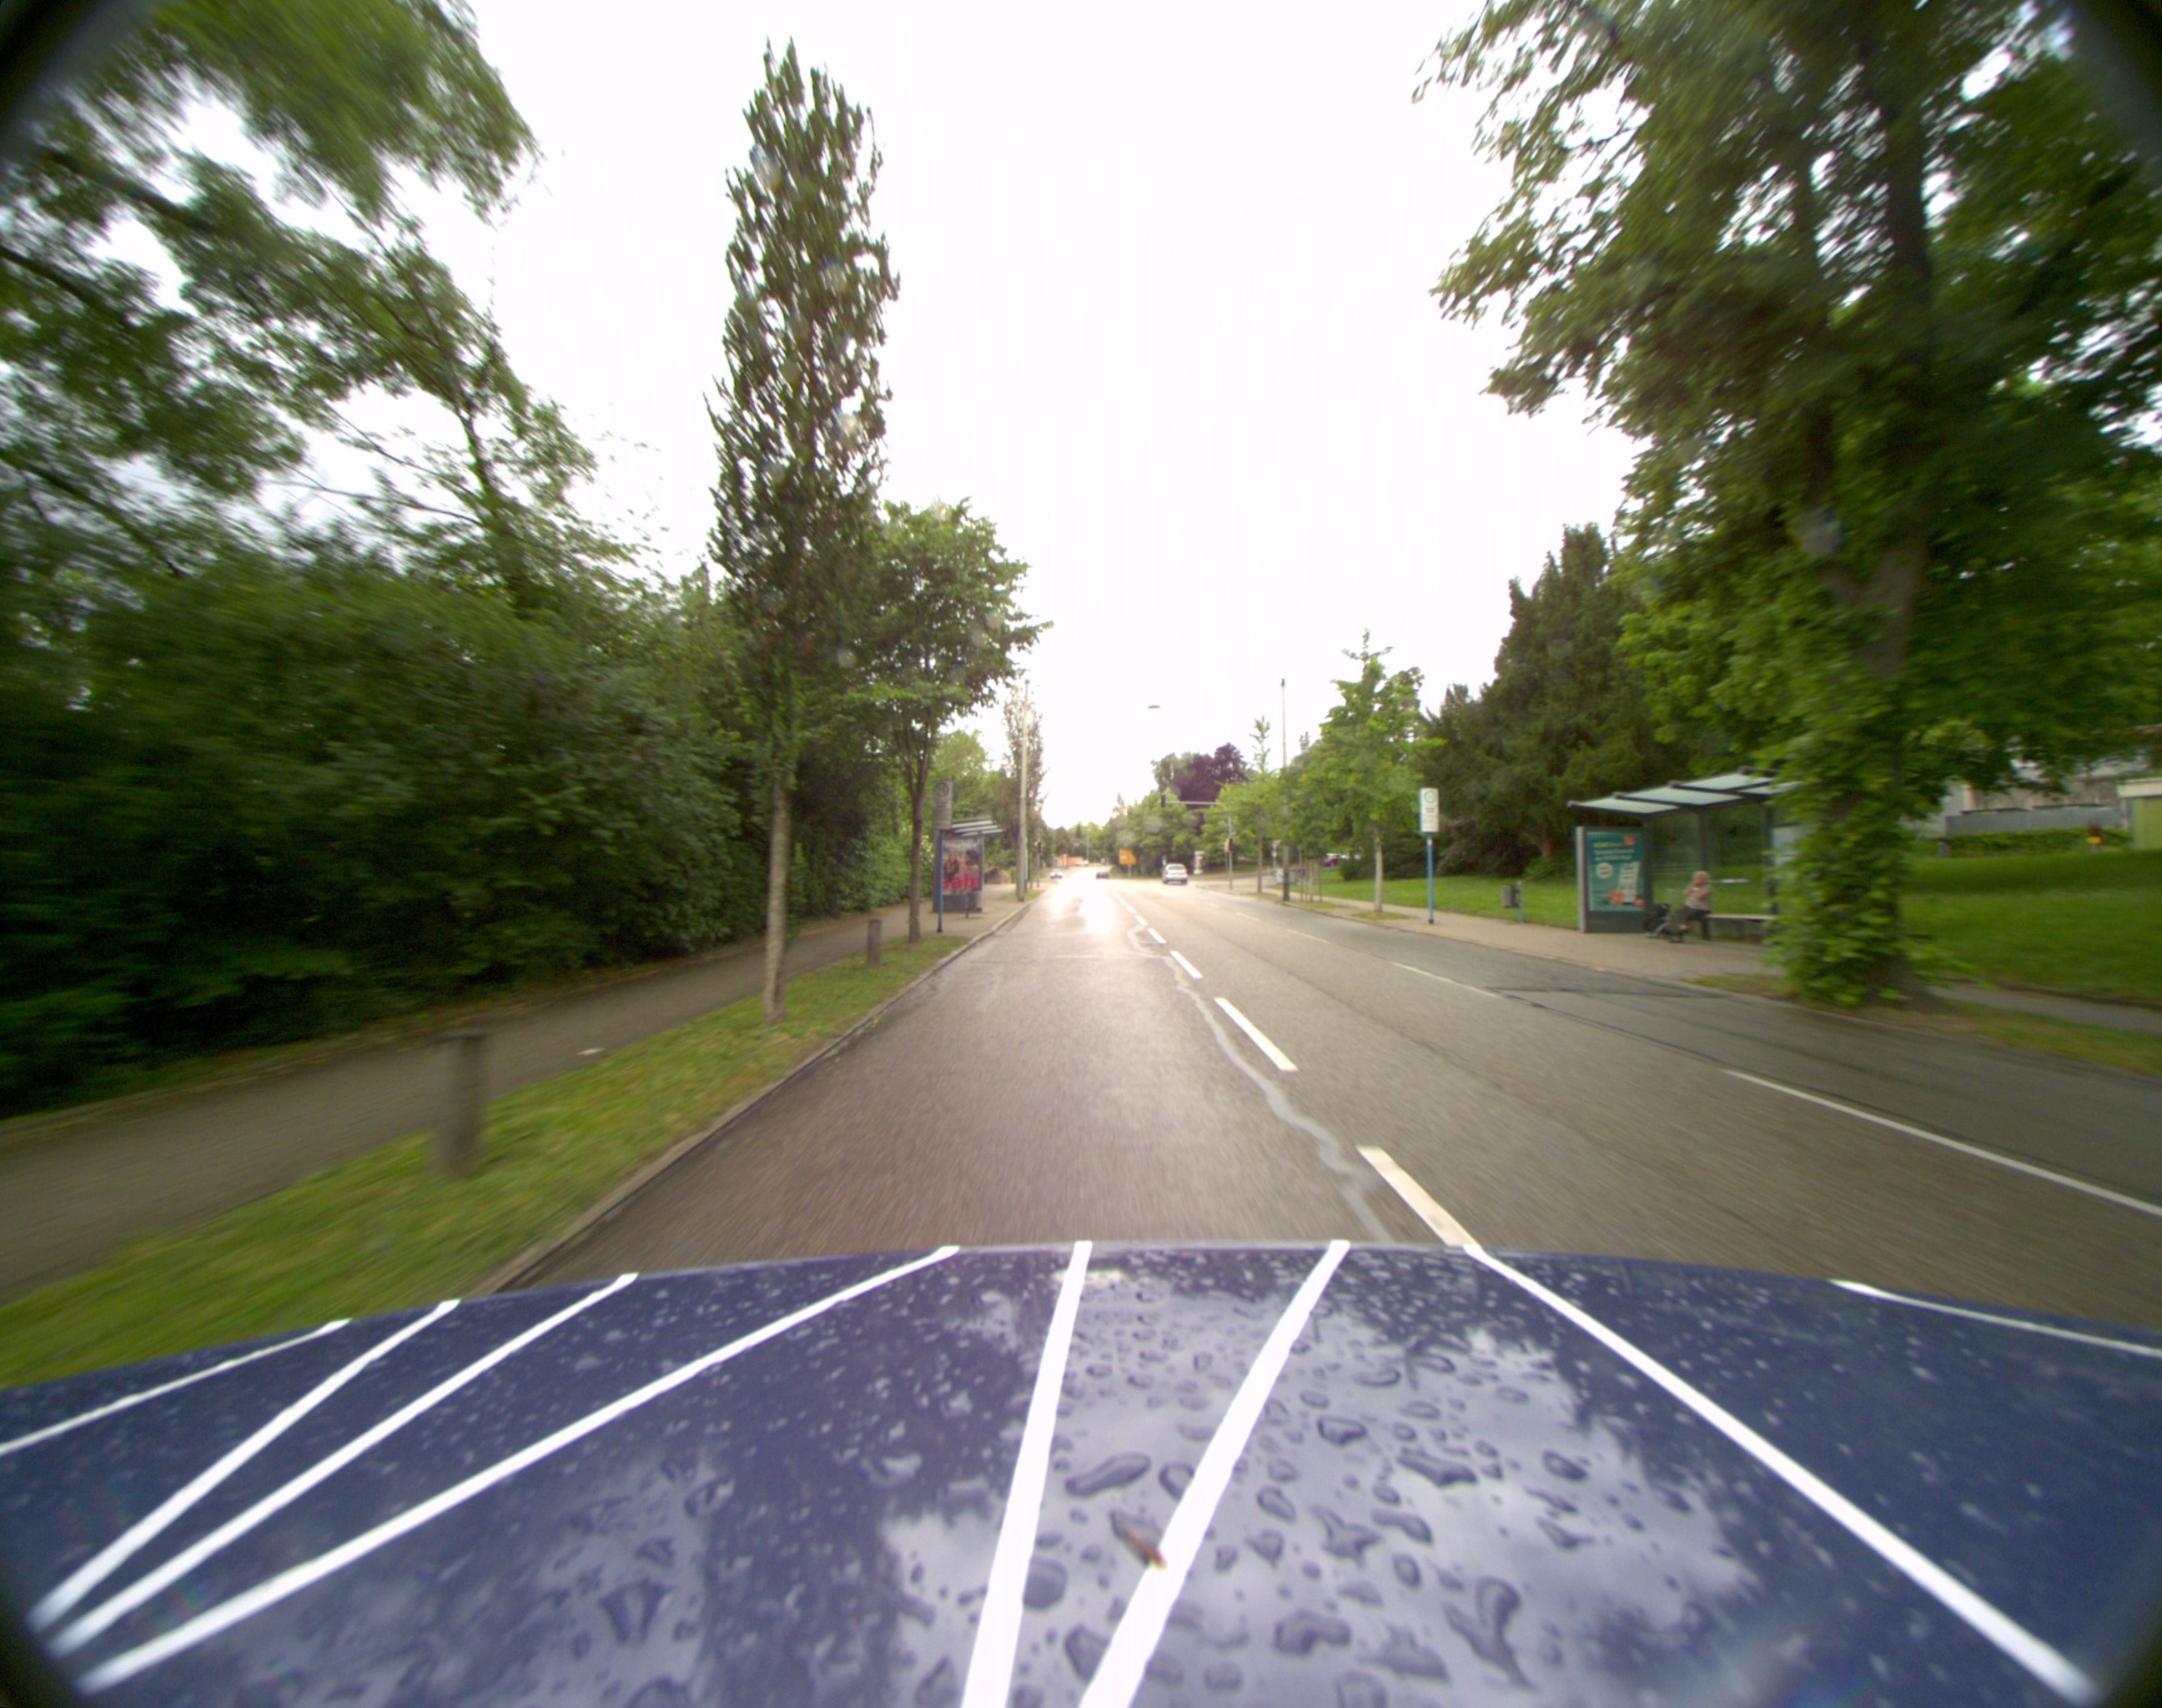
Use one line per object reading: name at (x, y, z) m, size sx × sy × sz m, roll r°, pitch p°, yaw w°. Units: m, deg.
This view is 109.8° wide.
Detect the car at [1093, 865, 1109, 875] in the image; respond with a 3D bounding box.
car at (3.209, 2.572, 122.975) m, size 1.878 × 1.540 × 3.996 m, roll 1°, pitch 1°, yaw -10°

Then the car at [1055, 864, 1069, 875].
car at (-3.245, 2.635, 130.935) m, size 1.998 × 1.674 × 4.001 m, roll -3°, pitch 0°, yaw 3°
